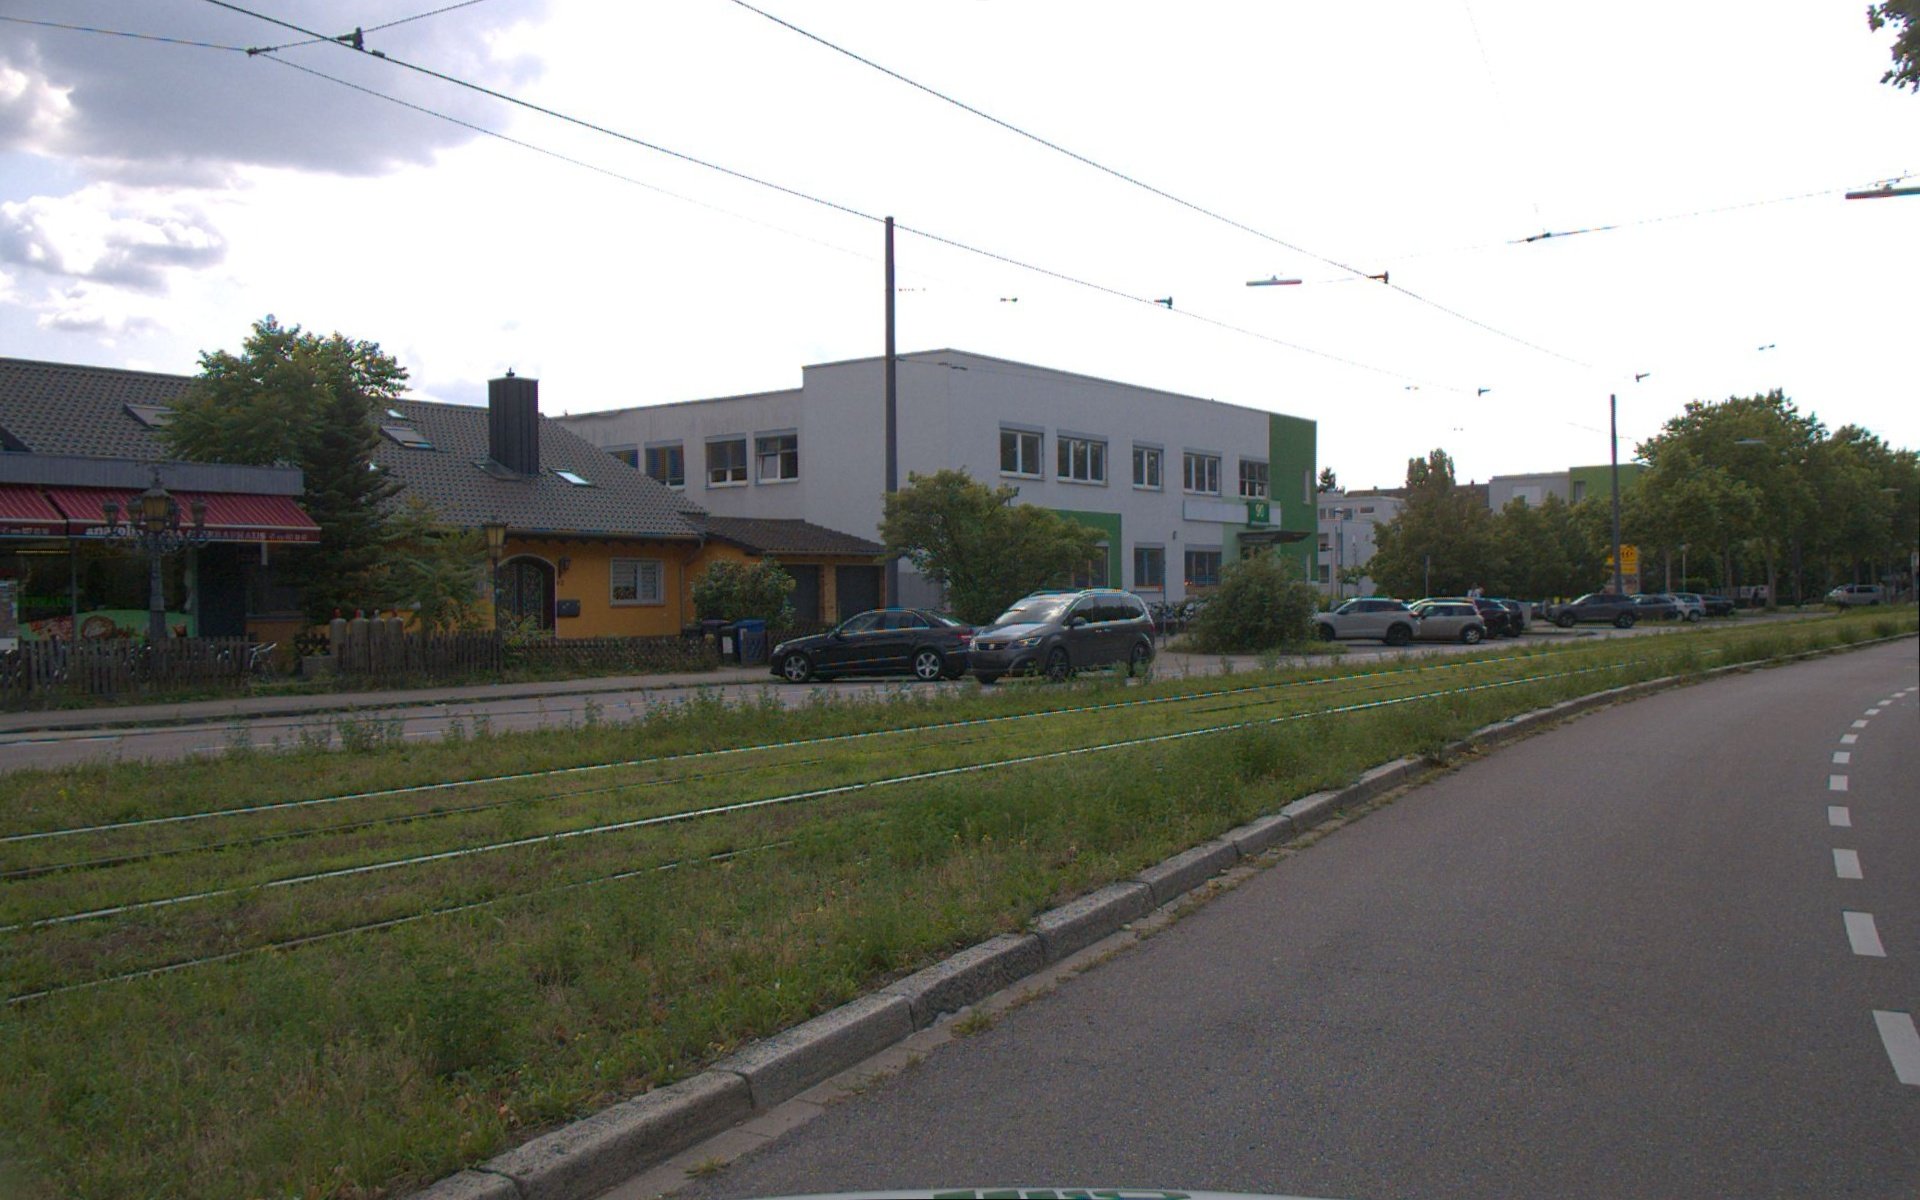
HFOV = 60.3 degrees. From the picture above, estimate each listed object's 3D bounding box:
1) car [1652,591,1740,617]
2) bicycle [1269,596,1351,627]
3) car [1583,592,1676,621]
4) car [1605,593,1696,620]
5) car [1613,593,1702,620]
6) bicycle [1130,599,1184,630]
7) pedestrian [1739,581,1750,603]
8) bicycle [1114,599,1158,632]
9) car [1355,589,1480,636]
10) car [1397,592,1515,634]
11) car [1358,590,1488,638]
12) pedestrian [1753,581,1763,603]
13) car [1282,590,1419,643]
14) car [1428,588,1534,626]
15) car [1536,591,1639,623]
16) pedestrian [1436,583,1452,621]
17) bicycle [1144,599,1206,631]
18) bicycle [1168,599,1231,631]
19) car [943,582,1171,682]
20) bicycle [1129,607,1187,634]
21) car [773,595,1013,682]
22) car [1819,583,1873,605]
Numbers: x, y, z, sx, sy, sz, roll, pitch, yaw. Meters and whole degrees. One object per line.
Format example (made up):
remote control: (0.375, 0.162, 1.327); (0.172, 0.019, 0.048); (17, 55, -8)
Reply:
car: (41.265, 0.220, 92.825); (4.209, 1.387, 1.903); (-1, 0, 14)
bicycle: (14.339, 0.473, 67.796); (3.077, 1.186, 1.139); (-1, 0, 33)
car: (34.595, 0.337, 85.555); (4.209, 1.387, 1.903); (-1, 0, 14)
car: (36.717, 0.343, 88.098); (4.209, 1.387, 1.903); (-1, 0, 14)
car: (38.051, 0.342, 90.322); (4.209, 1.387, 1.903); (-1, 0, 14)
bicycle: (7.016, 0.517, 58.976); (1.760, 1.100, 0.734); (-1, 0, 35)
pedestrian: (63.145, -0.639, 133.125); (0.610, 1.759, 0.644); (1, 0, 36)
bicycle: (6.436, 0.583, 60.627); (0.698, 1.186, 1.600); (-1, 0, -37)
car: (16.680, 0.452, 60.519); (4.209, 1.658, 1.904); (0, 0, 8)
car: (18.795, 0.484, 62.792); (4.068, 1.530, 1.862); (0, 0, 9)
car: (16.175, 0.489, 57.958); (4.209, 1.658, 1.904); (0, 0, 8)
pedestrian: (64.413, -0.620, 133.555); (0.610, 1.759, 0.644); (1, 0, 36)
car: (13.086, 0.543, 55.656); (4.211, 1.658, 1.903); (-1, 0, 3)
car: (21.479, 0.271, 68.347); (4.068, 1.530, 1.862); (0, 0, 14)
car: (29.118, 0.334, 76.855); (4.209, 1.387, 1.904); (-1, 0, 13)
pedestrian: (22.338, 0.094, 76.374); (0.584, 1.704, 0.540); (-1, 0, 28)
bicycle: (8.103, 0.561, 62.420); (2.310, 1.186, 0.756); (-1, 0, 43)
bicycle: (9.113, 0.577, 63.080); (2.377, 1.186, 0.743); (-1, 0, 44)
car: (1.934, 0.558, 31.737); (1.963, 1.752, 4.716); (-1, 0, 40)
bicycle: (7.390, 0.757, 61.822); (2.120, 0.987, 0.727); (-1, 0, 41)
car: (-1.341, 0.782, 33.896); (4.468, 1.608, 2.001); (-2, 0, 17)
car: (79.865, -0.553, 149.130); (3.903, 1.870, 1.823); (1, 0, 5)
